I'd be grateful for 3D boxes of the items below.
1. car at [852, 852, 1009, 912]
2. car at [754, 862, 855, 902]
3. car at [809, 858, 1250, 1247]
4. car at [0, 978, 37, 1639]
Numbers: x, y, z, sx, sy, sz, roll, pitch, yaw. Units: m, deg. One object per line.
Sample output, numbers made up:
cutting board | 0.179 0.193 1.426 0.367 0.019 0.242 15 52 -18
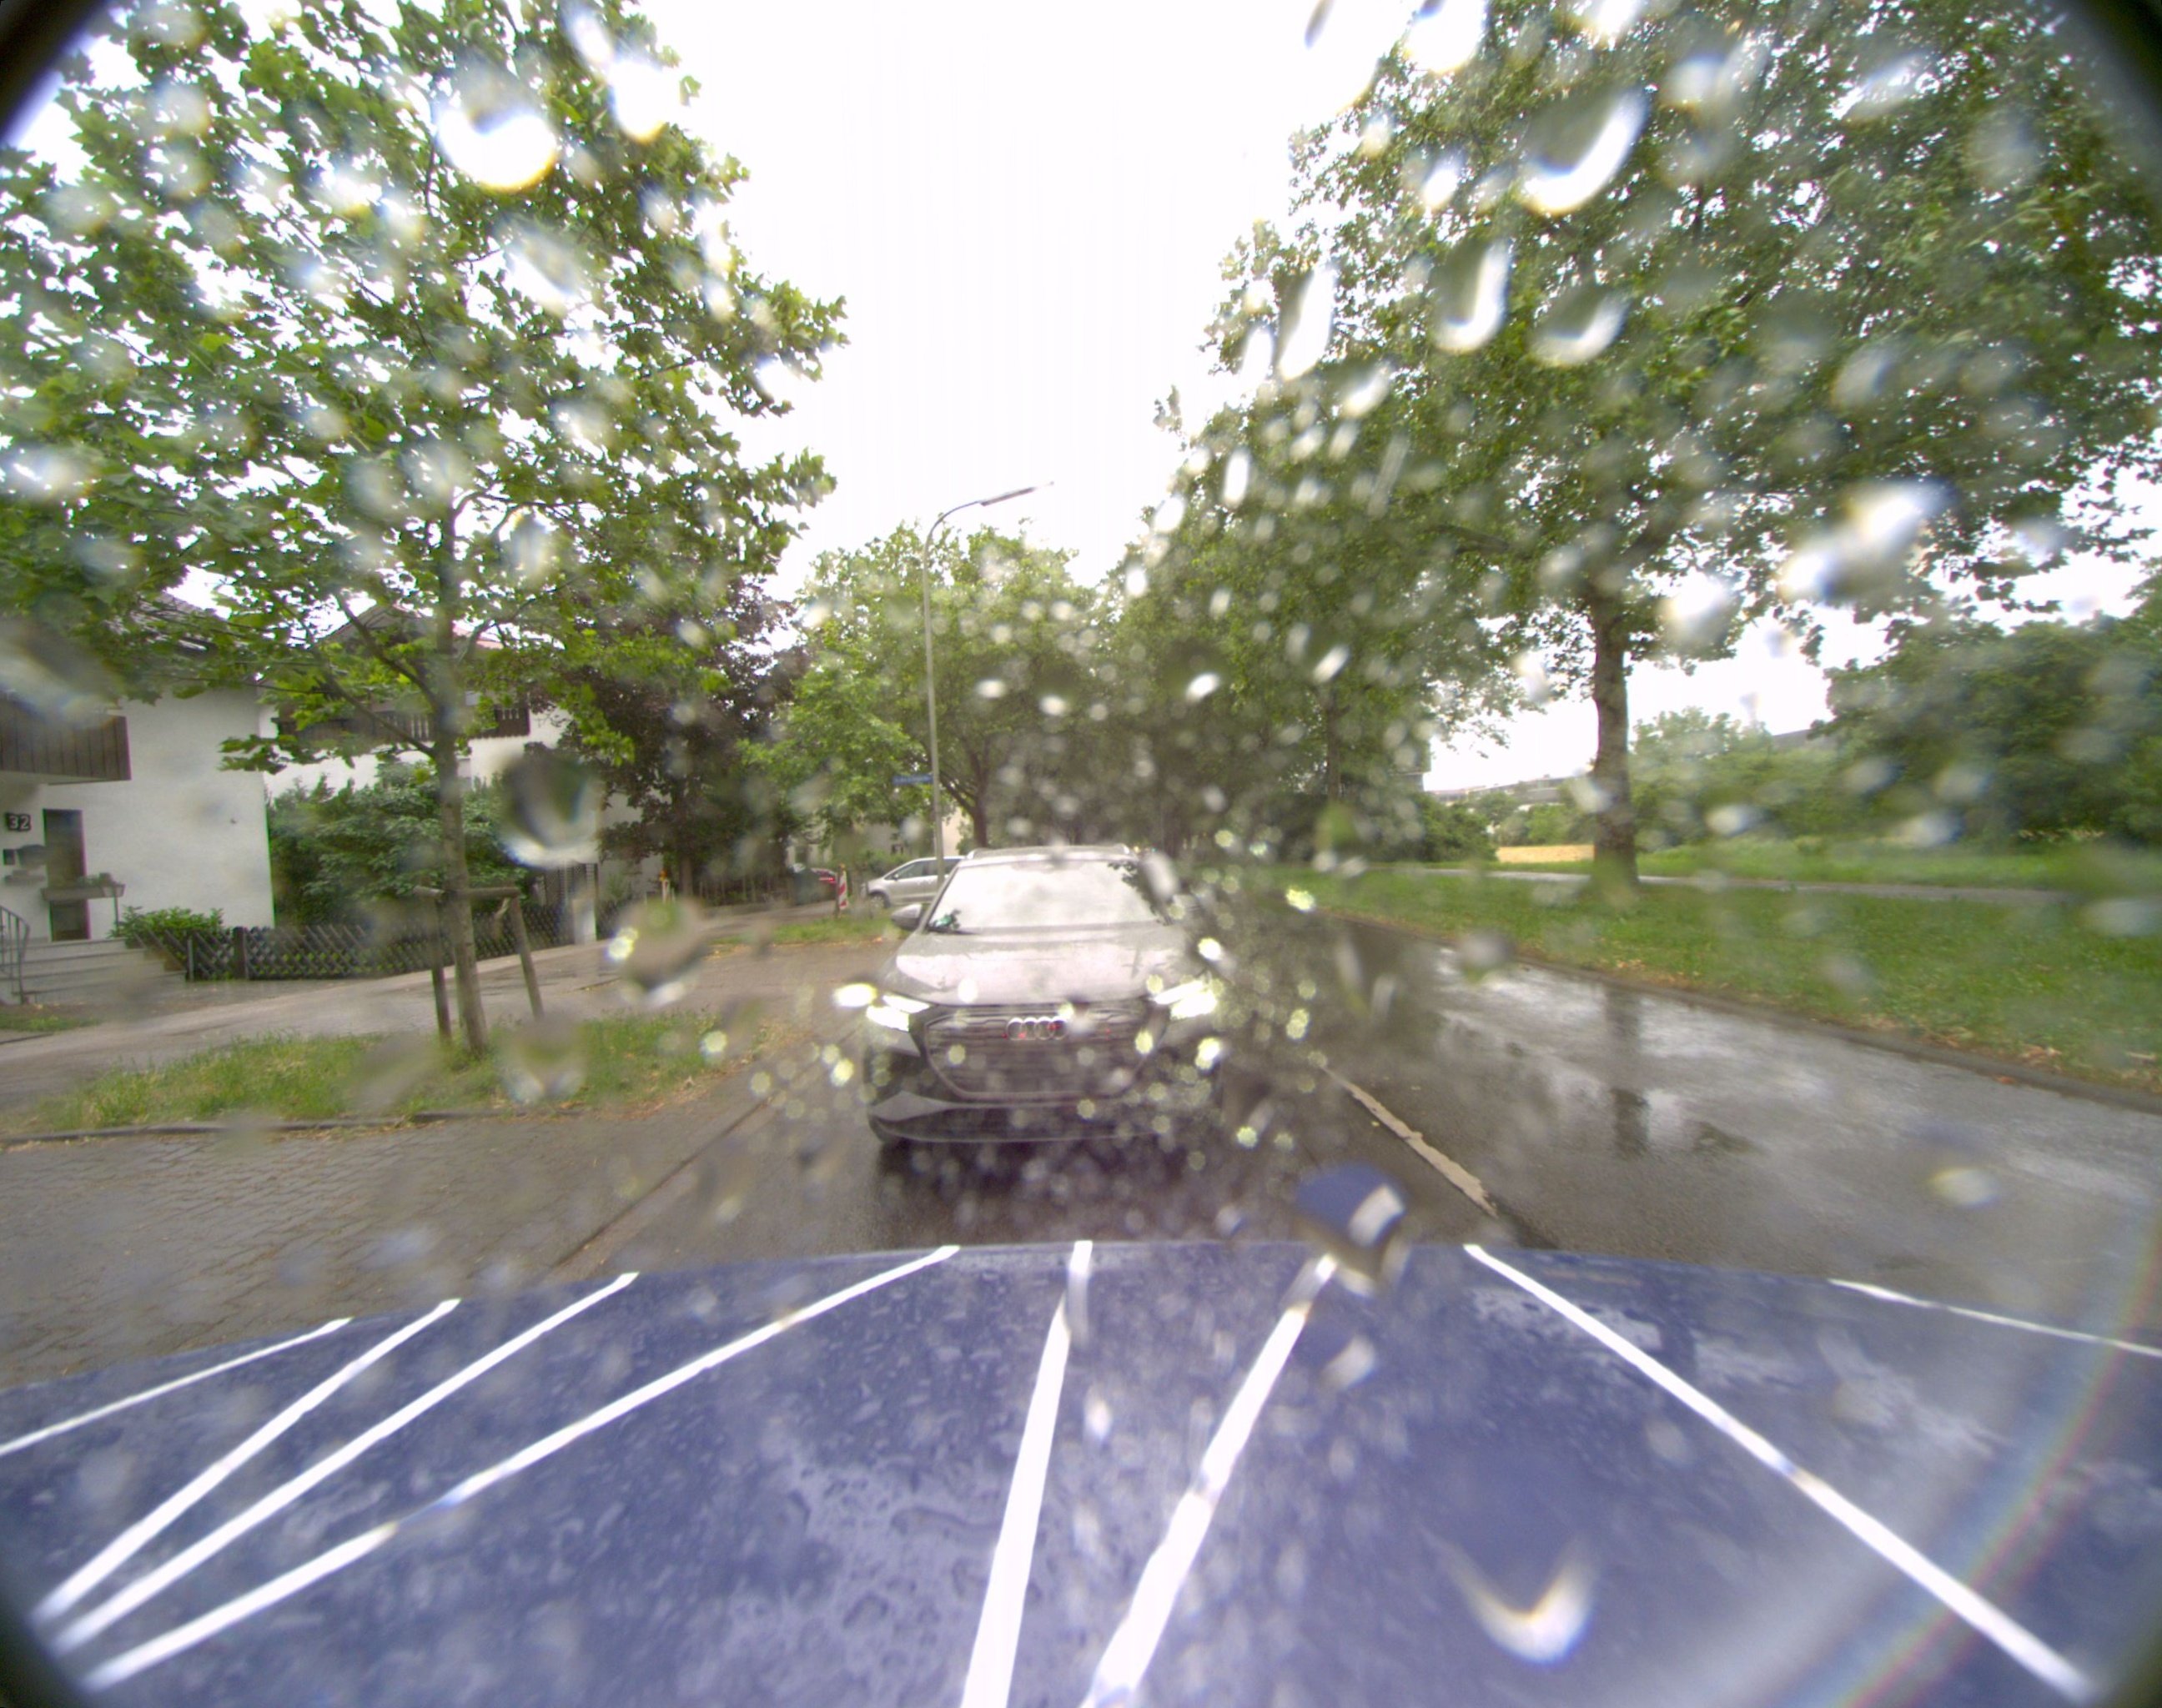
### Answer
car | -4.800 0.873 24.799 4.701 1.651 1.976 -3 0 -1
car | -12.653 1.257 34.912 3.853 1.603 1.843 -3 0 2
car | -0.189 0.886 5.540 1.862 1.608 4.423 -3 0 1
car | -4.757 1.109 0.612 4.779 1.464 1.937 -2 0 -4
